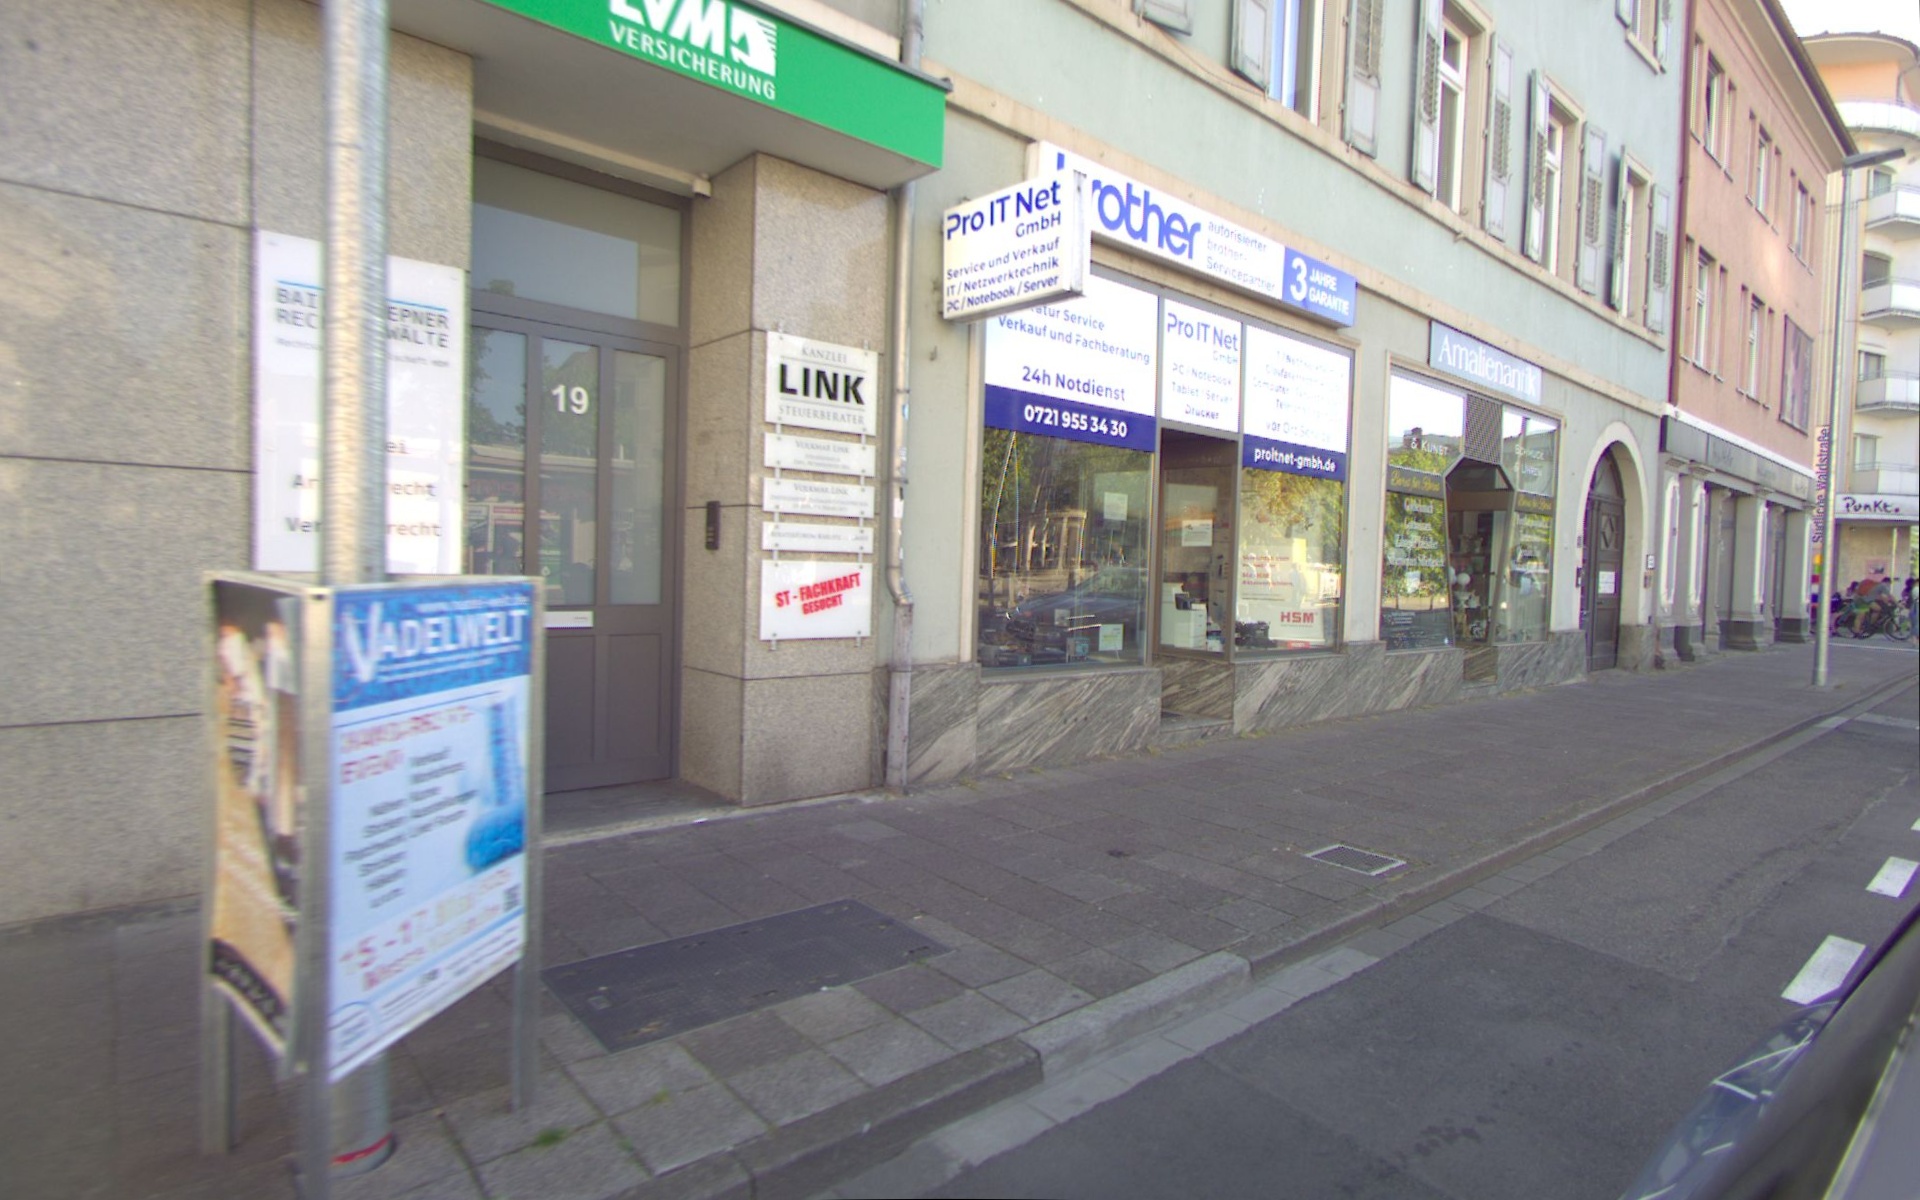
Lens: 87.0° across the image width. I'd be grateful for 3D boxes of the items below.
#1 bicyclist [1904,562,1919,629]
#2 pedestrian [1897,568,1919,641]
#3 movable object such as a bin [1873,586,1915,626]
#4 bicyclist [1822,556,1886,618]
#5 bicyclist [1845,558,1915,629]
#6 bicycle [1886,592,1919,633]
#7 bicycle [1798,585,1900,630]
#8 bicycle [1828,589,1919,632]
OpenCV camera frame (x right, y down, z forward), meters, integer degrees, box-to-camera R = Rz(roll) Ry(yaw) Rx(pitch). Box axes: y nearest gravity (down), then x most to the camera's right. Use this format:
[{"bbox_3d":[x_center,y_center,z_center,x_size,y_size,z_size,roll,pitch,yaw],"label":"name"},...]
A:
[{"bbox_3d":[24.817,-0.099,25.585,0.711,1.705,1.135,1,2,-13],"label":"bicyclist"},{"bbox_3d":[22.458,0.111,23.398,0.751,1.679,0.816,1,1,-4],"label":"pedestrian"},{"bbox_3d":[27.636,0.159,29.948,0.610,1.126,0.809,0,3,-42],"label":"movable object such as a bin"},{"bbox_3d":[23.942,-0.363,27.114,0.711,1.602,1.033,0,2,-19],"label":"bicyclist"},{"bbox_3d":[23.639,-0.180,26.026,1.131,1.783,0.746,2,2,28],"label":"bicyclist"},{"bbox_3d":[24.897,0.336,25.779,0.548,1.032,1.920,1,2,-13],"label":"bicycle"},{"bbox_3d":[23.899,0.178,27.257,0.718,1.110,1.925,0,2,-19],"label":"bicycle"},{"bbox_3d":[23.599,0.263,26.045,1.805,1.006,0.559,2,2,28],"label":"bicycle"}]
